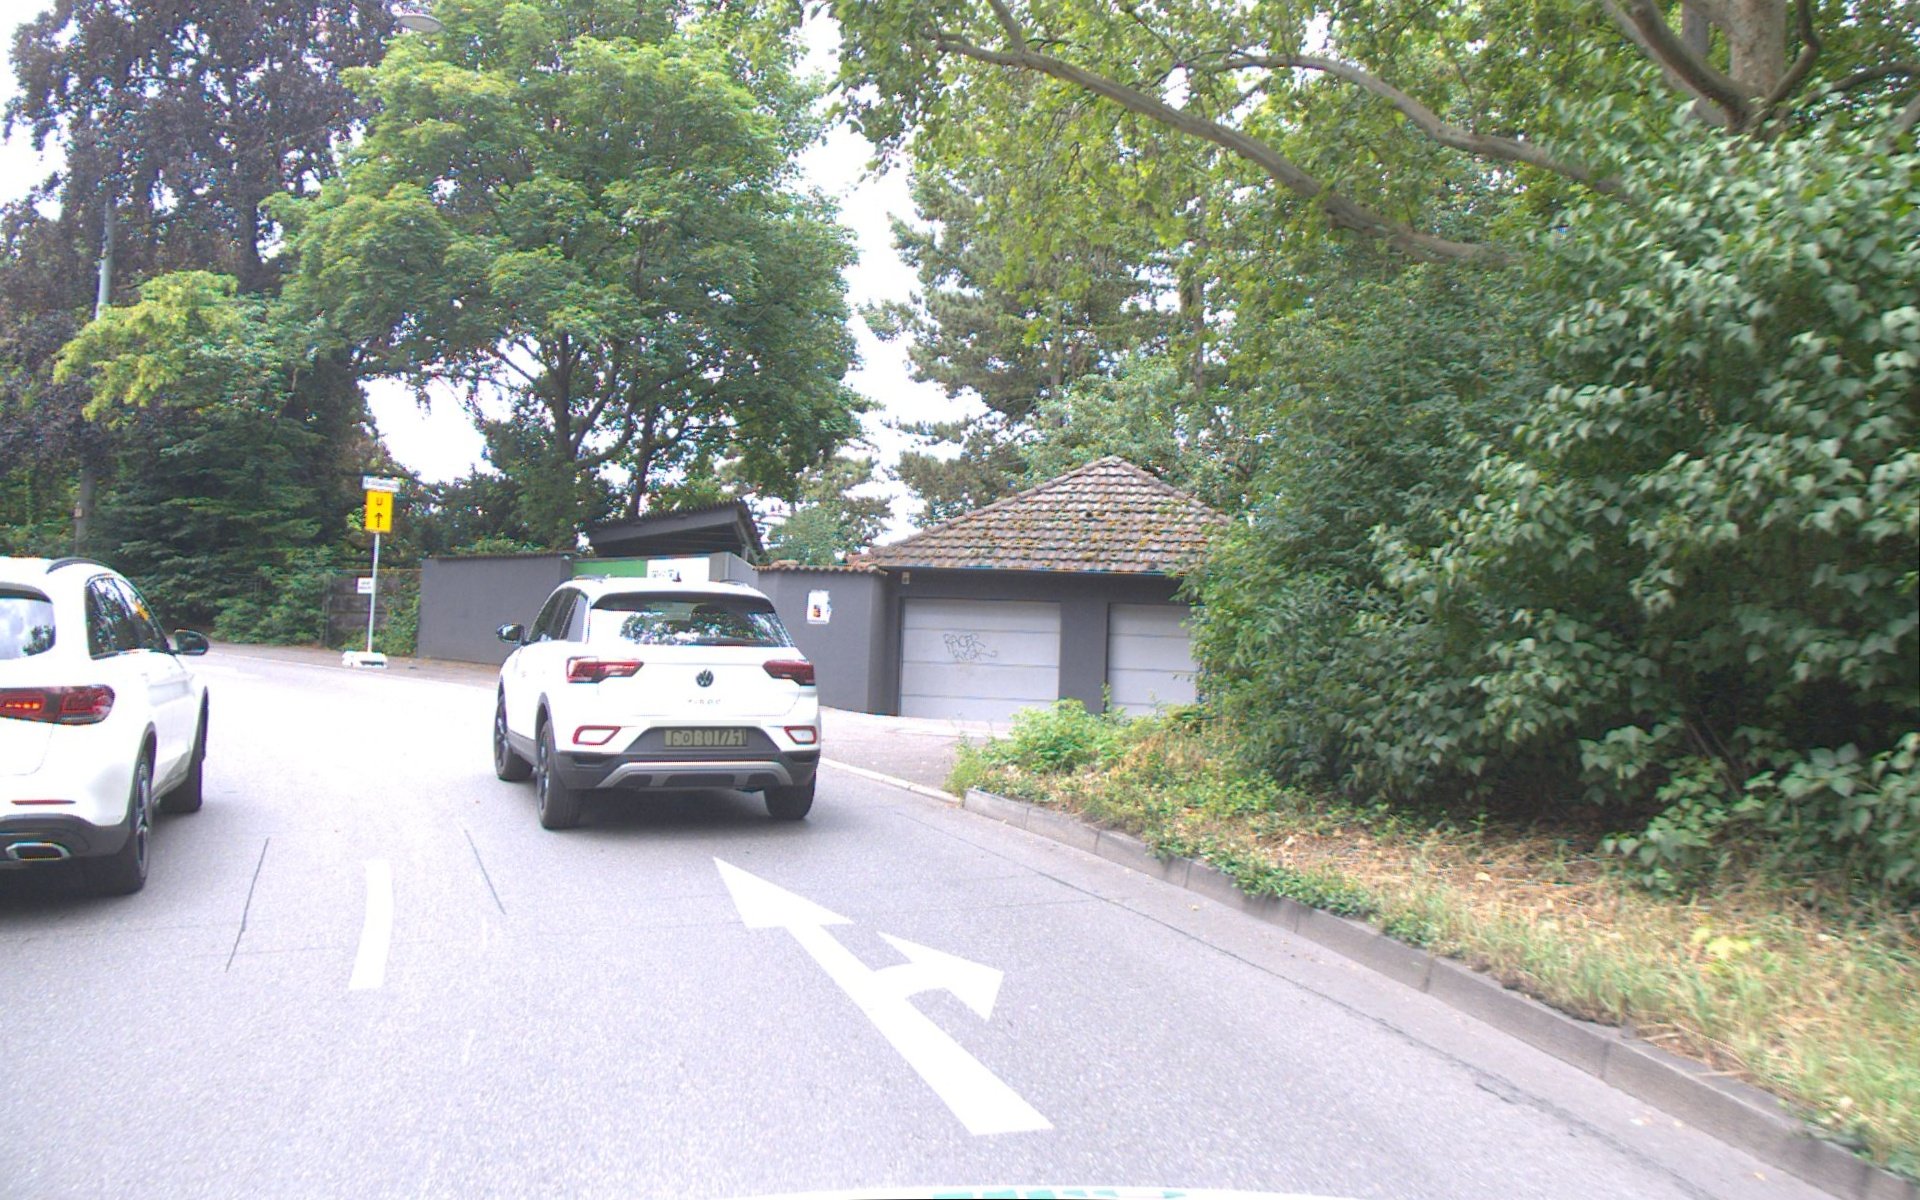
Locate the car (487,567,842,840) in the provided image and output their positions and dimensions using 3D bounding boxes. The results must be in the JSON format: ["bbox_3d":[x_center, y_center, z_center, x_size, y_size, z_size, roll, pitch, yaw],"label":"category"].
[{"bbox_3d":[-2.308,0.574,11.891,1.729,1.580,4.310,0,1,-21],"label":"car"}]

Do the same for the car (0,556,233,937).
[{"bbox_3d":[-5.264,0.580,9.154,1.830,1.633,4.647,0,1,-18],"label":"car"}]

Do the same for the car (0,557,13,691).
[{"bbox_3d":[-13.487,0.143,20.299,4.694,1.560,1.859,4,1,43],"label":"car"}]
